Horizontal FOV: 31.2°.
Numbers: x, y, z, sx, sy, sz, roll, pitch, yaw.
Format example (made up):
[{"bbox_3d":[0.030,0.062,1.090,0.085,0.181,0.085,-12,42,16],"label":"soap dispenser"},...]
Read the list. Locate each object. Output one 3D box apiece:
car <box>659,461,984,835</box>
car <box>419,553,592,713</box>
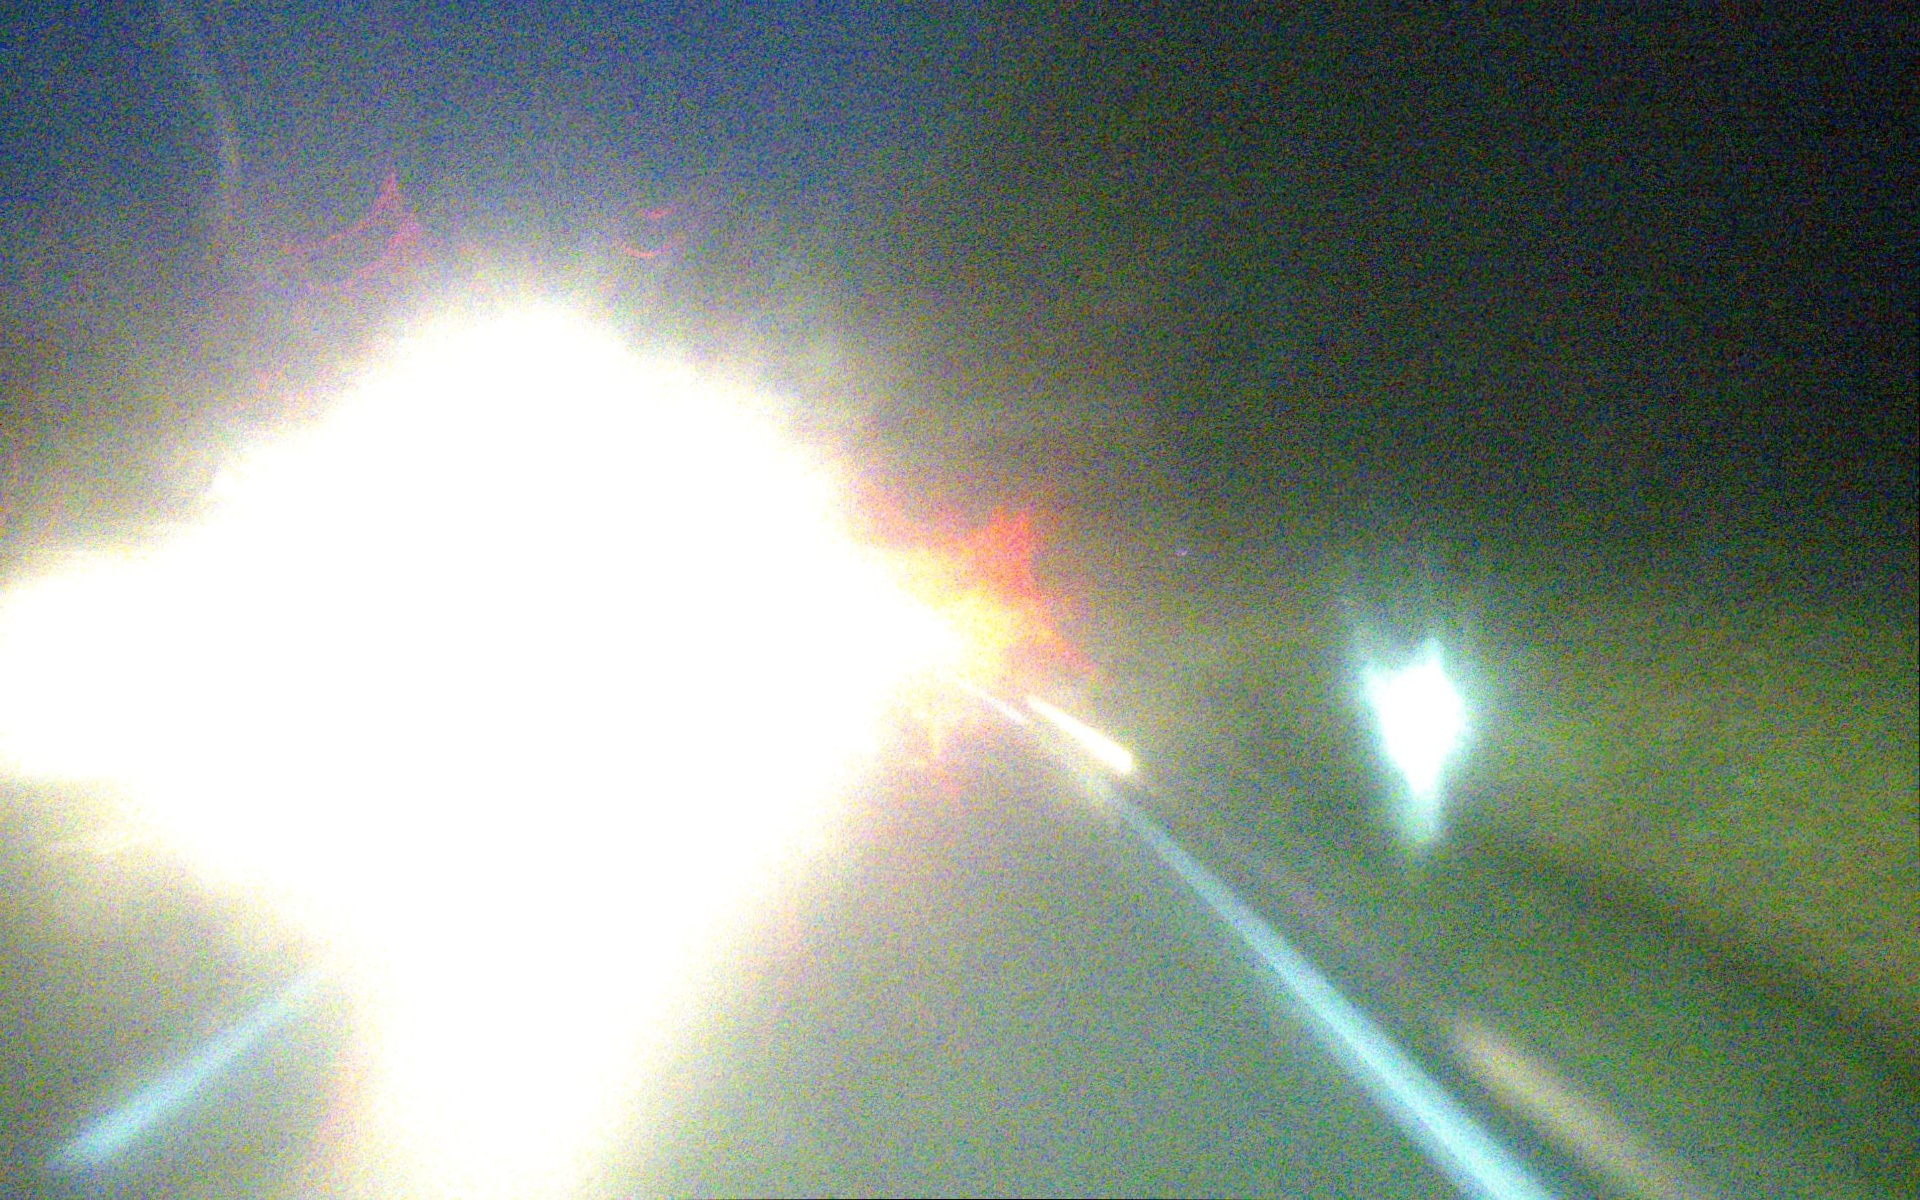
[{"bbox_3d":[-1.091,0.281,26.594,2.181,2.548,4.508,3,1,-3],"label":"car"},{"bbox_3d":[-6.042,0.392,46.123,1.993,2.007,4.457,-1,1,-4],"label":"car"}]
